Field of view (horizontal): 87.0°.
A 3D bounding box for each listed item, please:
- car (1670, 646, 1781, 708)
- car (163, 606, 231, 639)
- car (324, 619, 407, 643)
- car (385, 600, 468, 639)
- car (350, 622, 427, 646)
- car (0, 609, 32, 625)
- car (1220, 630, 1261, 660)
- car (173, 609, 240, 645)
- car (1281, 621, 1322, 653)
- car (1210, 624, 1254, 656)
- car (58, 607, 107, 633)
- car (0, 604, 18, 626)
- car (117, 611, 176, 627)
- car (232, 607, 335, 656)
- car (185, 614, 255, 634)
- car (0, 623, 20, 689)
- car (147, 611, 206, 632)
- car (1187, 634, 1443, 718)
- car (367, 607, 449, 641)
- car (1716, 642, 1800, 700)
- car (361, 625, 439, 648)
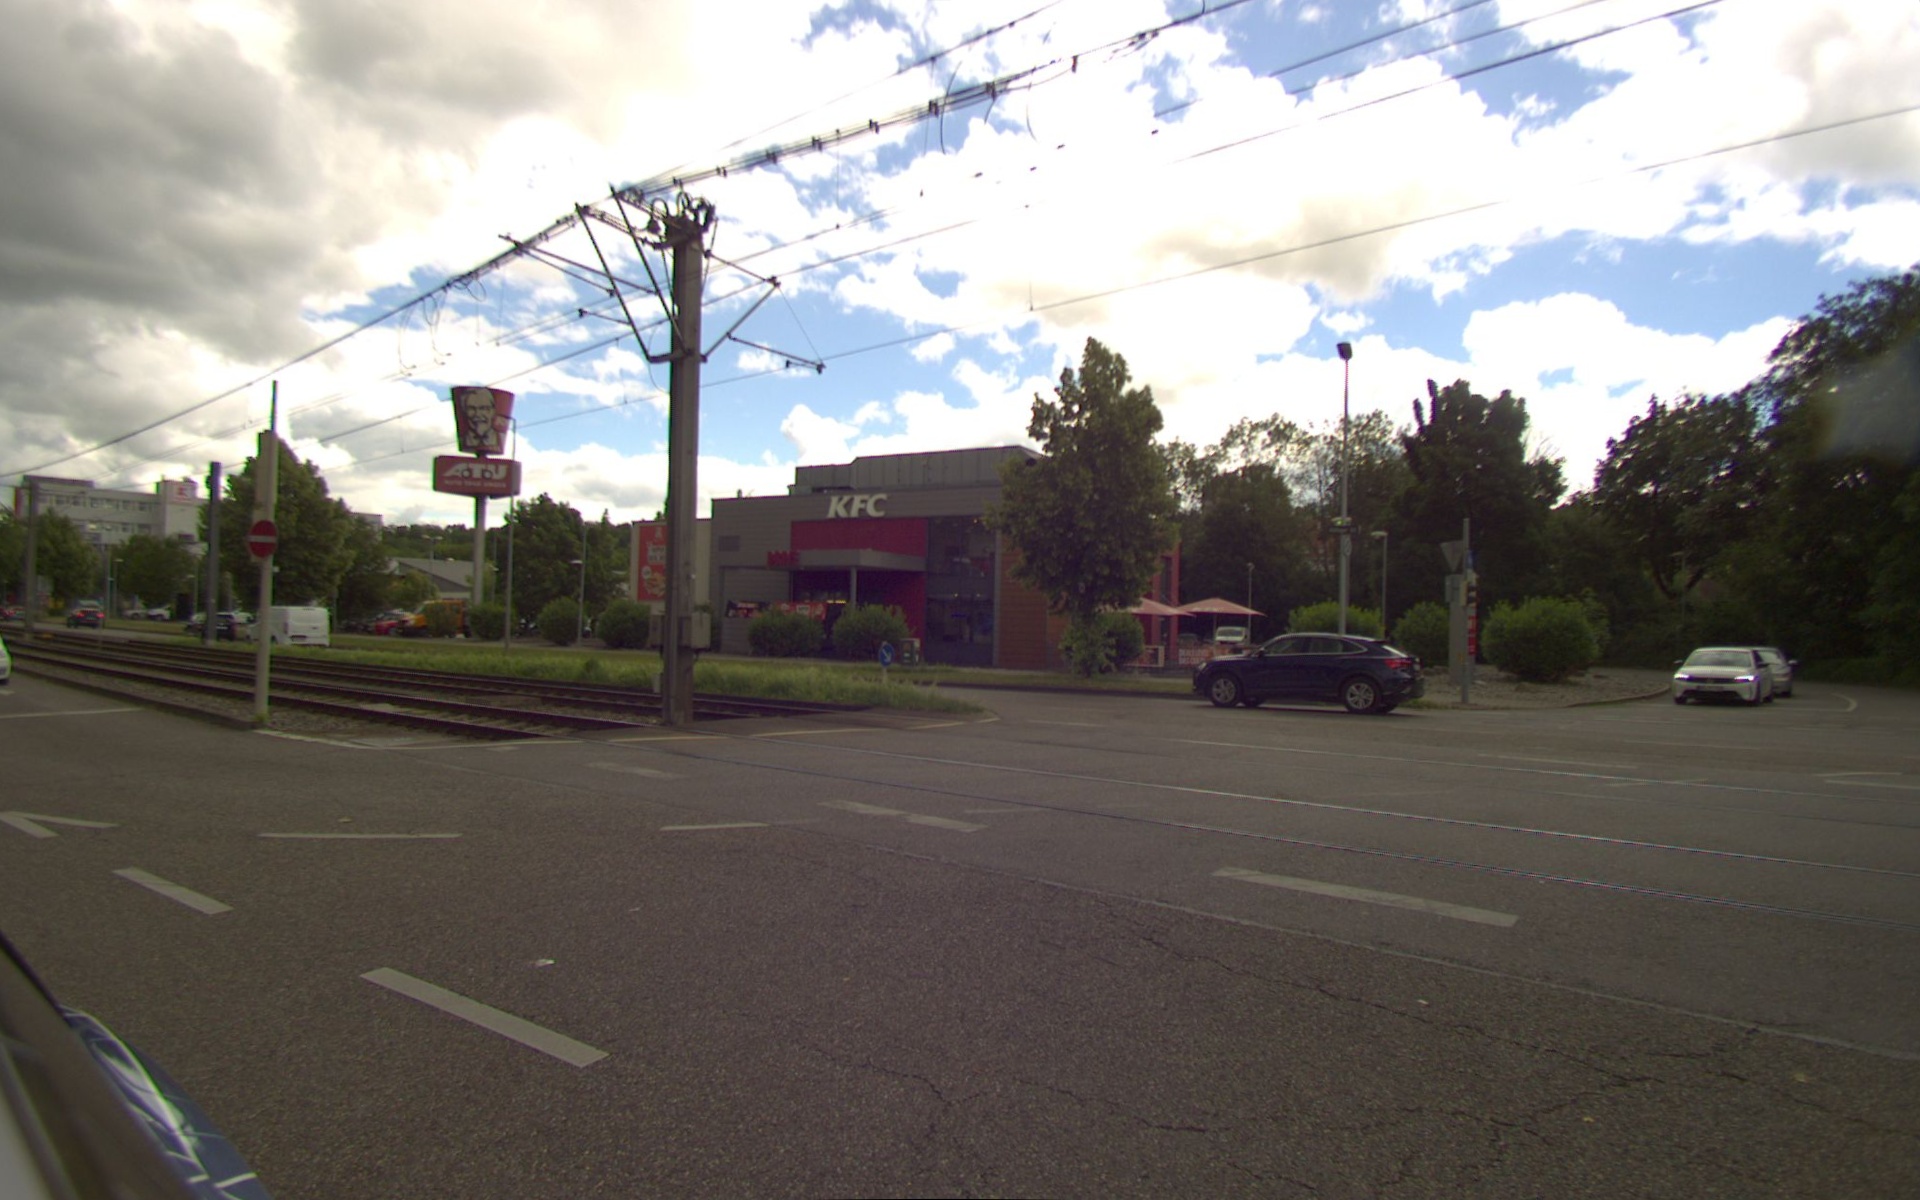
[{"bbox_3d":[19.377,1.894,25.775,1.841,1.419,3.849,0,-2,31],"label":"car"},{"bbox_3d":[-69.540,2.064,92.235,2.287,2.769,4.425,0,-3,39],"label":"car"},{"bbox_3d":[-39.807,2.050,67.791,2.193,1.364,4.330,0,1,39],"label":"car"},{"bbox_3d":[-31.985,1.140,60.739,2.057,2.182,3.948,0,1,39],"label":"car"},{"bbox_3d":[-37.470,2.178,66.385,2.091,1.377,3.948,0,1,39],"label":"car"},{"bbox_3d":[-95.011,1.685,101.659,3.996,1.494,1.974,0,-4,39],"label":"car"},{"bbox_3d":[19.896,3.157,71.597,1.991,2.029,3.961,-1,-2,28],"label":"car"},{"bbox_3d":[-44.268,1.576,59.405,4.098,2.029,1.976,0,-2,36],"label":"car"},{"bbox_3d":[22.934,2.467,67.897,1.991,2.029,3.961,-1,-2,28],"label":"car"},{"bbox_3d":[17.964,2.603,66.789,1.991,2.029,3.961,-1,-2,28],"label":"car"},{"bbox_3d":[-69.020,1.557,79.573,4.238,2.029,1.976,0,-2,36],"label":"car"},{"bbox_3d":[-91.025,1.426,95.766,3.992,2.029,1.976,0,-4,36],"label":"car"},{"bbox_3d":[-84.032,1.972,104.587,2.000,1.504,4.551,0,1,43],"label":"car"},{"bbox_3d":[-29.482,1.337,44.070,4.873,2.029,1.977,0,-2,34],"label":"car"},{"bbox_3d":[-62.797,2.005,85.922,1.792,1.518,4.429,0,1,36],"label":"car"},{"bbox_3d":[-23.439,1.279,23.499,3.994,1.455,1.765,0,0,38],"label":"car"},{"bbox_3d":[-76.405,2.046,98.761,2.000,1.933,4.298,0,1,43],"label":"car"},{"bbox_3d":[7.045,1.469,20.272,4.497,1.493,1.976,-1,-4,36],"label":"car"},{"bbox_3d":[-33.983,1.451,62.349,1.998,1.932,3.948,0,1,39],"label":"car"},{"bbox_3d":[23.530,2.049,29.936,1.844,1.564,3.949,-1,-2,37],"label":"car"},{"bbox_3d":[-35.663,2.280,64.500,1.998,1.245,3.948,0,1,39],"label":"car"}]
